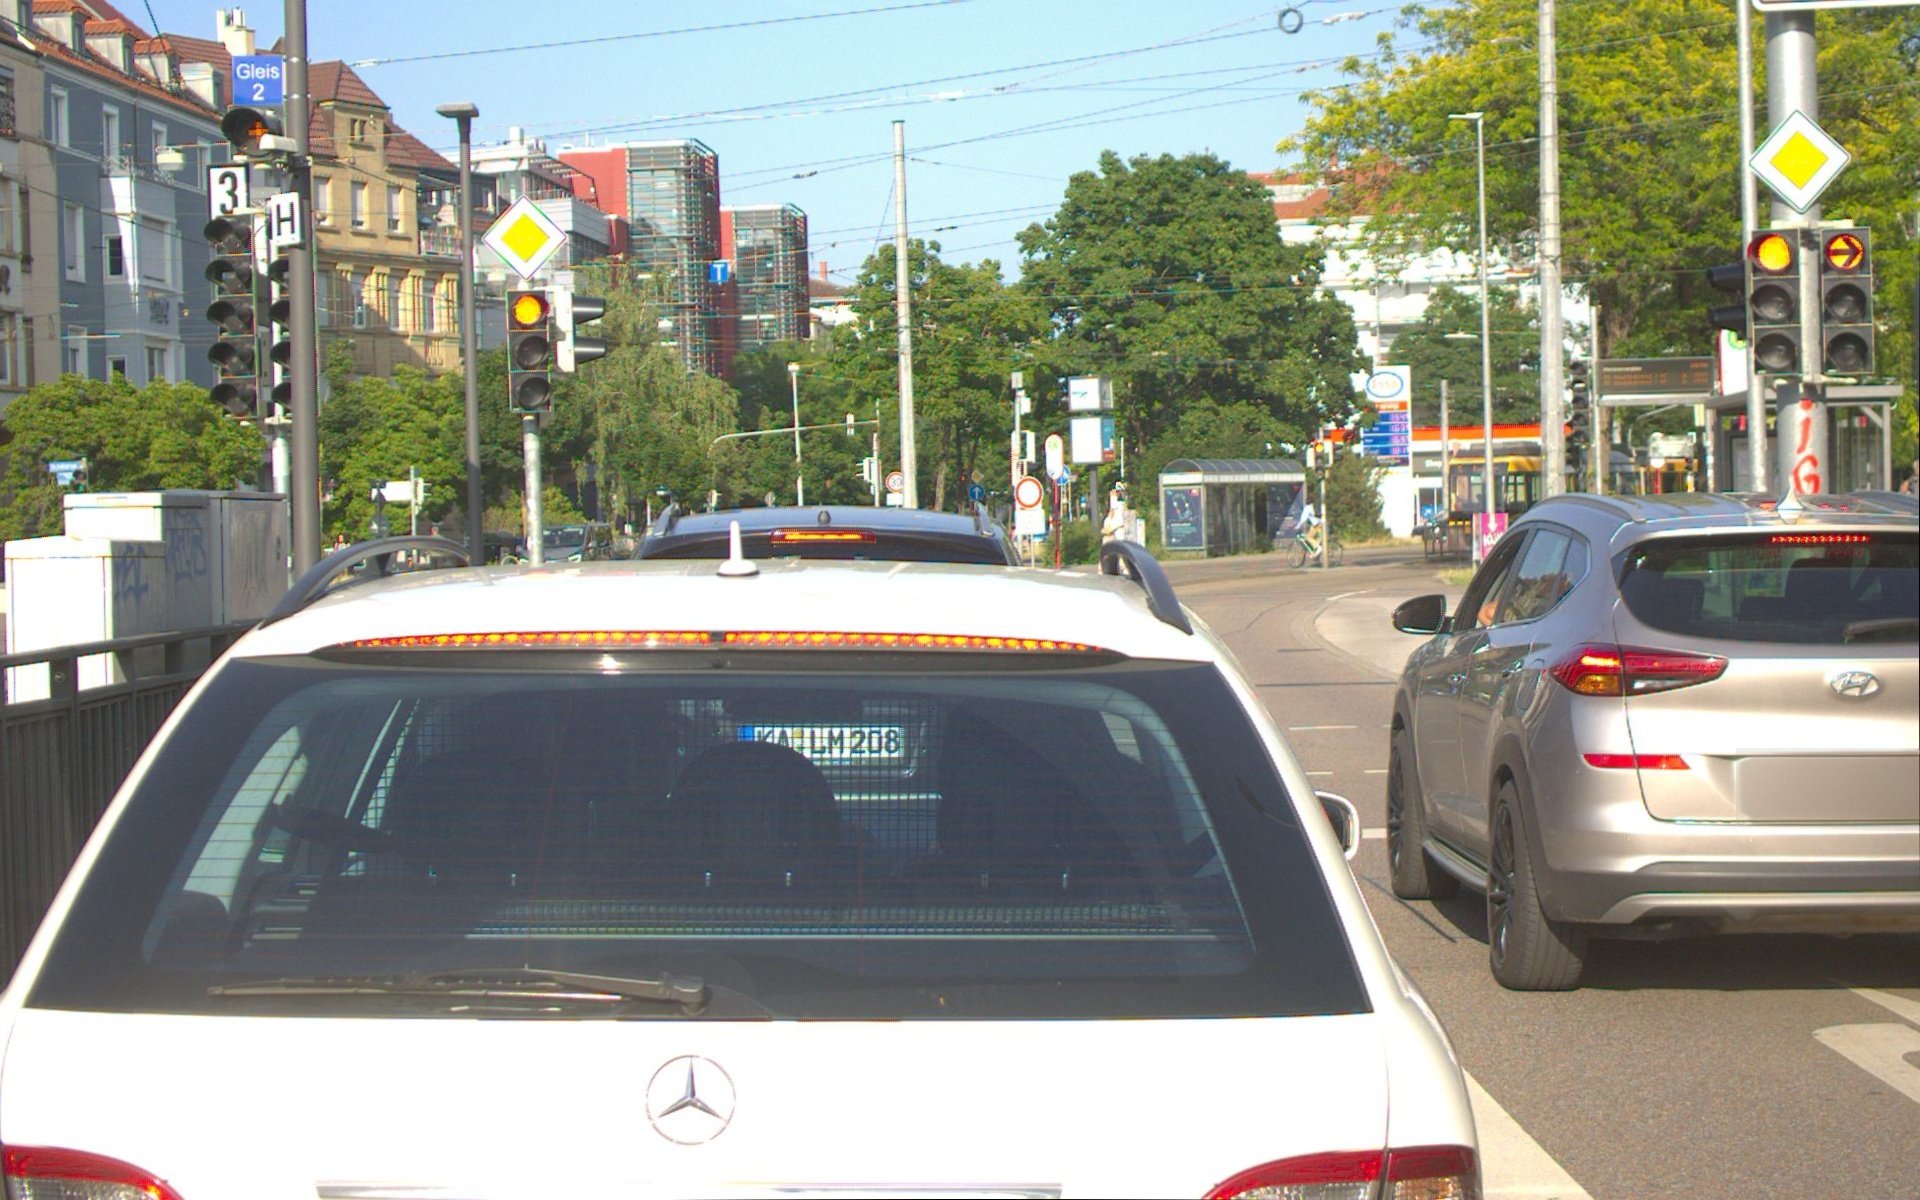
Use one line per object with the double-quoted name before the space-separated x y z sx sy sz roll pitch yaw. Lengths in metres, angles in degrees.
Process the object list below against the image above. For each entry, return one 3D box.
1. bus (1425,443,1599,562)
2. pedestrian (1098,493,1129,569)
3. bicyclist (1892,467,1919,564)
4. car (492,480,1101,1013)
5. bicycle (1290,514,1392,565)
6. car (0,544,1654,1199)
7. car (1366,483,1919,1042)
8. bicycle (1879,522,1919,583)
"bus" 18.077 -3.088 111.719 3.112 3.593 12.362 1 1 21
"pedestrian" 3.822 -1.723 85.702 0.642 1.850 0.551 -1 1 11
"bicyclist" 12.586 -1.112 44.936 0.534 1.258 0.869 -2 1 0
"car" -0.527 0.421 12.582 1.885 1.645 3.648 1 1 0
"bicycle" 9.475 -1.510 85.428 2.483 1.209 0.806 -1 1 8
"car" -0.291 0.662 4.985 1.796 1.465 3.648 0 1 -1
"car" 2.632 0.440 12.165 1.885 1.645 3.648 -2 1 0
"bicycle" 12.601 -0.629 45.016 0.495 0.754 2.169 -3 1 0
